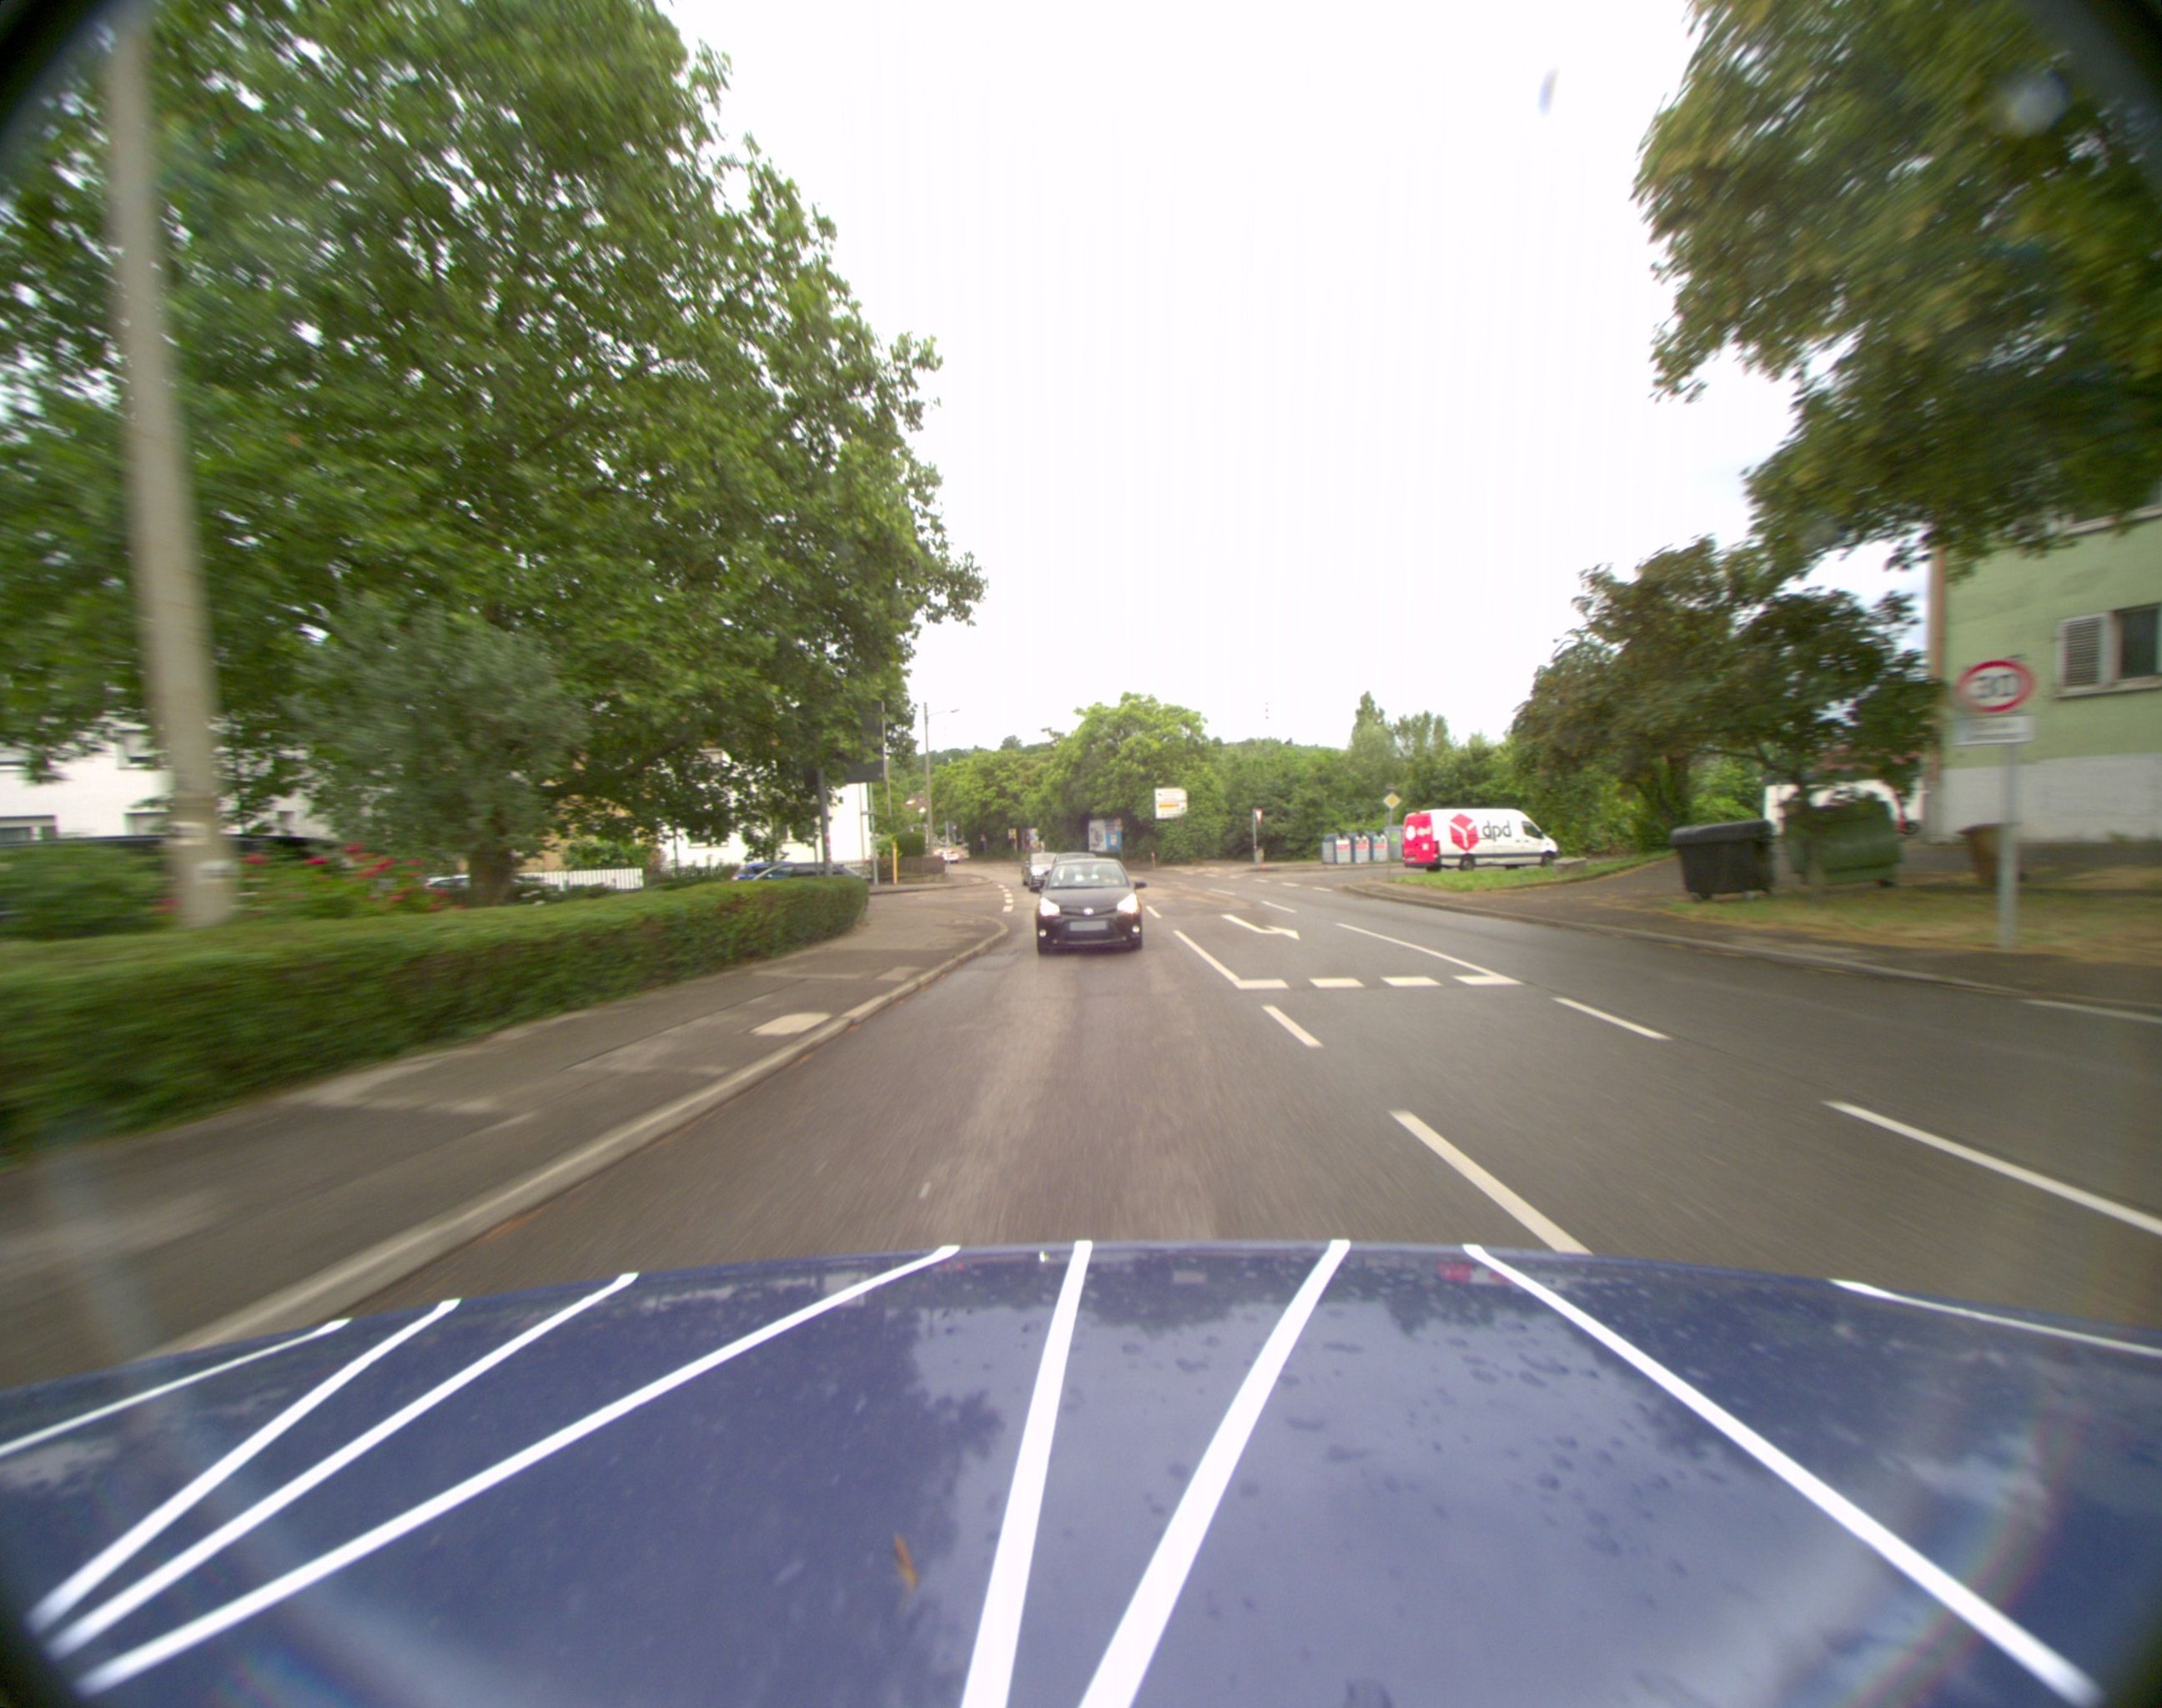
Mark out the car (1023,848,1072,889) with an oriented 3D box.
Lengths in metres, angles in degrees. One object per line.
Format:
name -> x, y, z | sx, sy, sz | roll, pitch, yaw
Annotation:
car -> -1.502, 0.571, 32.579 | 1.708, 1.548, 3.997 | -3, 1, -7

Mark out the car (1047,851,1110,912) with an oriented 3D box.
car -> -0.127, 0.735, 22.390 | 1.644, 1.548, 3.627 | -3, 1, -2

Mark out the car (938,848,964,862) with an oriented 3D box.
car -> -15.121, 0.141, 88.126 | 1.844, 1.548, 5.564 | -3, 1, -20

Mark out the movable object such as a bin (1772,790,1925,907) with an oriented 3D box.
movable object such as a bin -> 12.632, -0.086, 12.514 | 1.580, 1.750, 1.450 | -4, -2, -36

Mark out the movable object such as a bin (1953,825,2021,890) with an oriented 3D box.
movable object such as a bin -> 13.400, 0.052, 11.243 | 0.542, 0.904, 0.561 | -4, -2, -36

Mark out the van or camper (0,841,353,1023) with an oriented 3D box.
van or camper -> -12.165, 0.896, 9.181 | 4.332, 1.893, 1.996 | -3, 1, -21

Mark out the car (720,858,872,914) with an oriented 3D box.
car -> -9.256, 0.986, 24.878 | 4.397, 1.505, 1.996 | -3, 1, -21

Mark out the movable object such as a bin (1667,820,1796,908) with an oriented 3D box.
movable object such as a bin -> 11.721, 0.193, 13.704 | 1.475, 1.432, 1.374 | -3, -2, -36

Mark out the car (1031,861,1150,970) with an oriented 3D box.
car -> 0.060, 0.903, 12.921 | 1.645, 1.449, 3.999 | -3, 0, -2

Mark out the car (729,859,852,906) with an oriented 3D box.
car -> -10.520, 0.997, 27.666 | 4.004, 1.455, 1.857 | -2, 1, -22

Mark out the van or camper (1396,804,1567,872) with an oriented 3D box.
van or camper -> 16.677, -0.688, 31.612 | 6.702, 2.507, 2.219 | -3, 1, -18
